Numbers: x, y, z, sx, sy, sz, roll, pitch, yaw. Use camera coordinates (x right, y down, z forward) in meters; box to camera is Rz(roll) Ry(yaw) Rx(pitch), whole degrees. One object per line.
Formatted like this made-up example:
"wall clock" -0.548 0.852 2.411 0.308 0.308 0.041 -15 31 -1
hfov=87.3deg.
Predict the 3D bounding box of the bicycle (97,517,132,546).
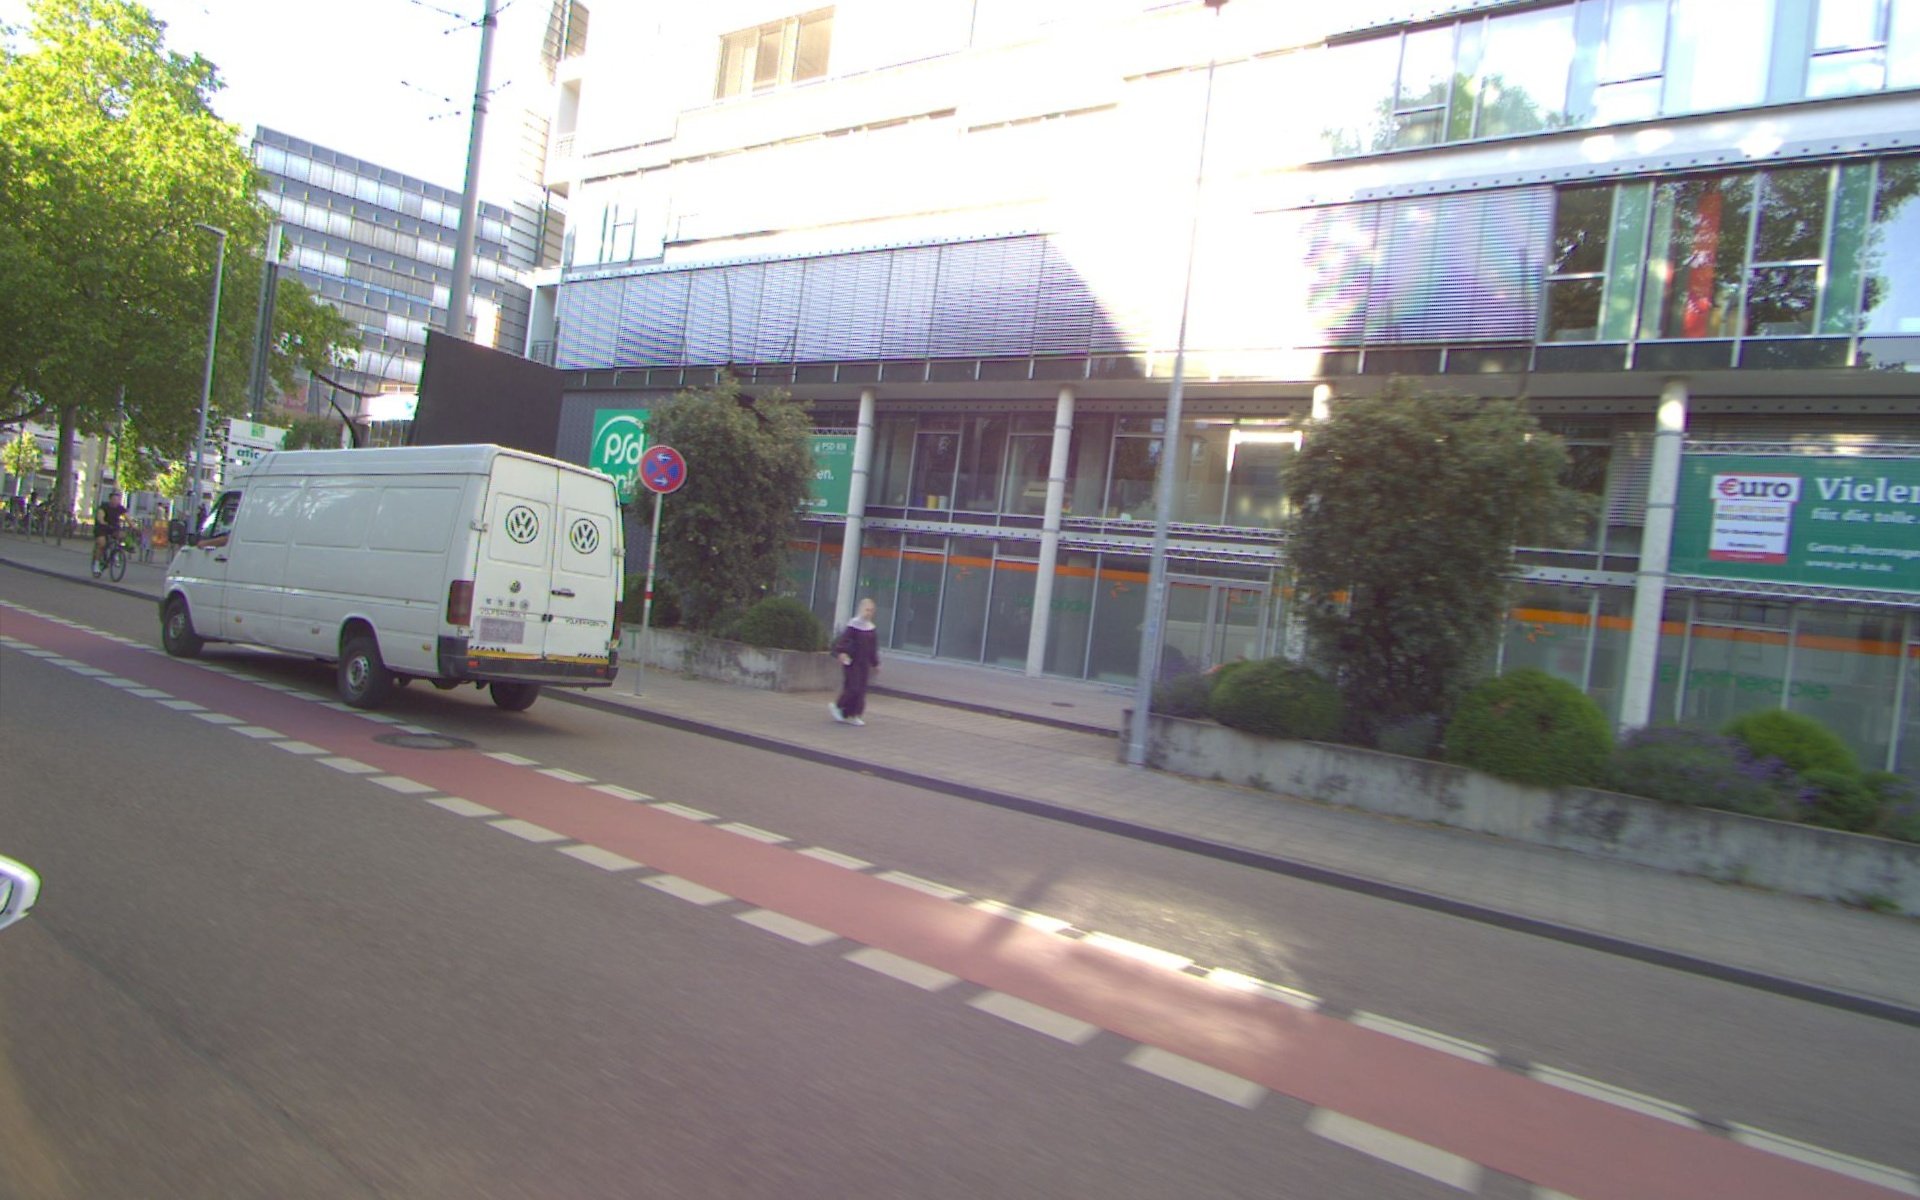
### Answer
"bicycle" -33.751 -2.744 40.172 1.738 0.994 0.503 7 2 32

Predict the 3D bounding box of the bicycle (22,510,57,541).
"bicycle" -34.936 -2.838 38.185 1.738 0.994 0.468 7 2 32

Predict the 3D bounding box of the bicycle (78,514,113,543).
"bicycle" -34.071 -2.815 39.629 1.738 0.994 0.503 7 2 32

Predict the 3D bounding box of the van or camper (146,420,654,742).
"van or camper" -6.467 -0.369 11.253 6.200 2.749 1.972 7 0 32

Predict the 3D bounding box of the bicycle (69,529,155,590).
"bicycle" -18.633 -0.896 22.089 2.428 1.081 0.683 7 1 32

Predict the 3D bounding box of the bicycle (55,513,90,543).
"bicycle" -34.432 -2.812 39.018 1.738 0.994 0.503 7 2 32

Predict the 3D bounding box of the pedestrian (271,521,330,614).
"pedestrian" -12.907 -0.639 19.698 0.891 1.726 0.564 7 4 30

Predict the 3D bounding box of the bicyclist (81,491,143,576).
"bicyclist" -18.658 -1.461 22.135 0.936 1.723 0.650 7 0 32

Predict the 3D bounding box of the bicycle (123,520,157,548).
"bicycle" -33.269 -2.687 40.810 1.738 0.994 0.503 7 2 32

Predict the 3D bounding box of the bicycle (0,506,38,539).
"bicycle" -35.255 -2.908 37.630 1.868 1.081 0.586 7 2 32

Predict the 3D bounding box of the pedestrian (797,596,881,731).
"pedestrian" -1.529 0.780 12.773 0.710 1.602 0.642 7 4 24

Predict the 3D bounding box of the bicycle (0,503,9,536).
"bicycle" -35.687 -3.031 36.936 1.868 1.176 0.586 7 2 32
